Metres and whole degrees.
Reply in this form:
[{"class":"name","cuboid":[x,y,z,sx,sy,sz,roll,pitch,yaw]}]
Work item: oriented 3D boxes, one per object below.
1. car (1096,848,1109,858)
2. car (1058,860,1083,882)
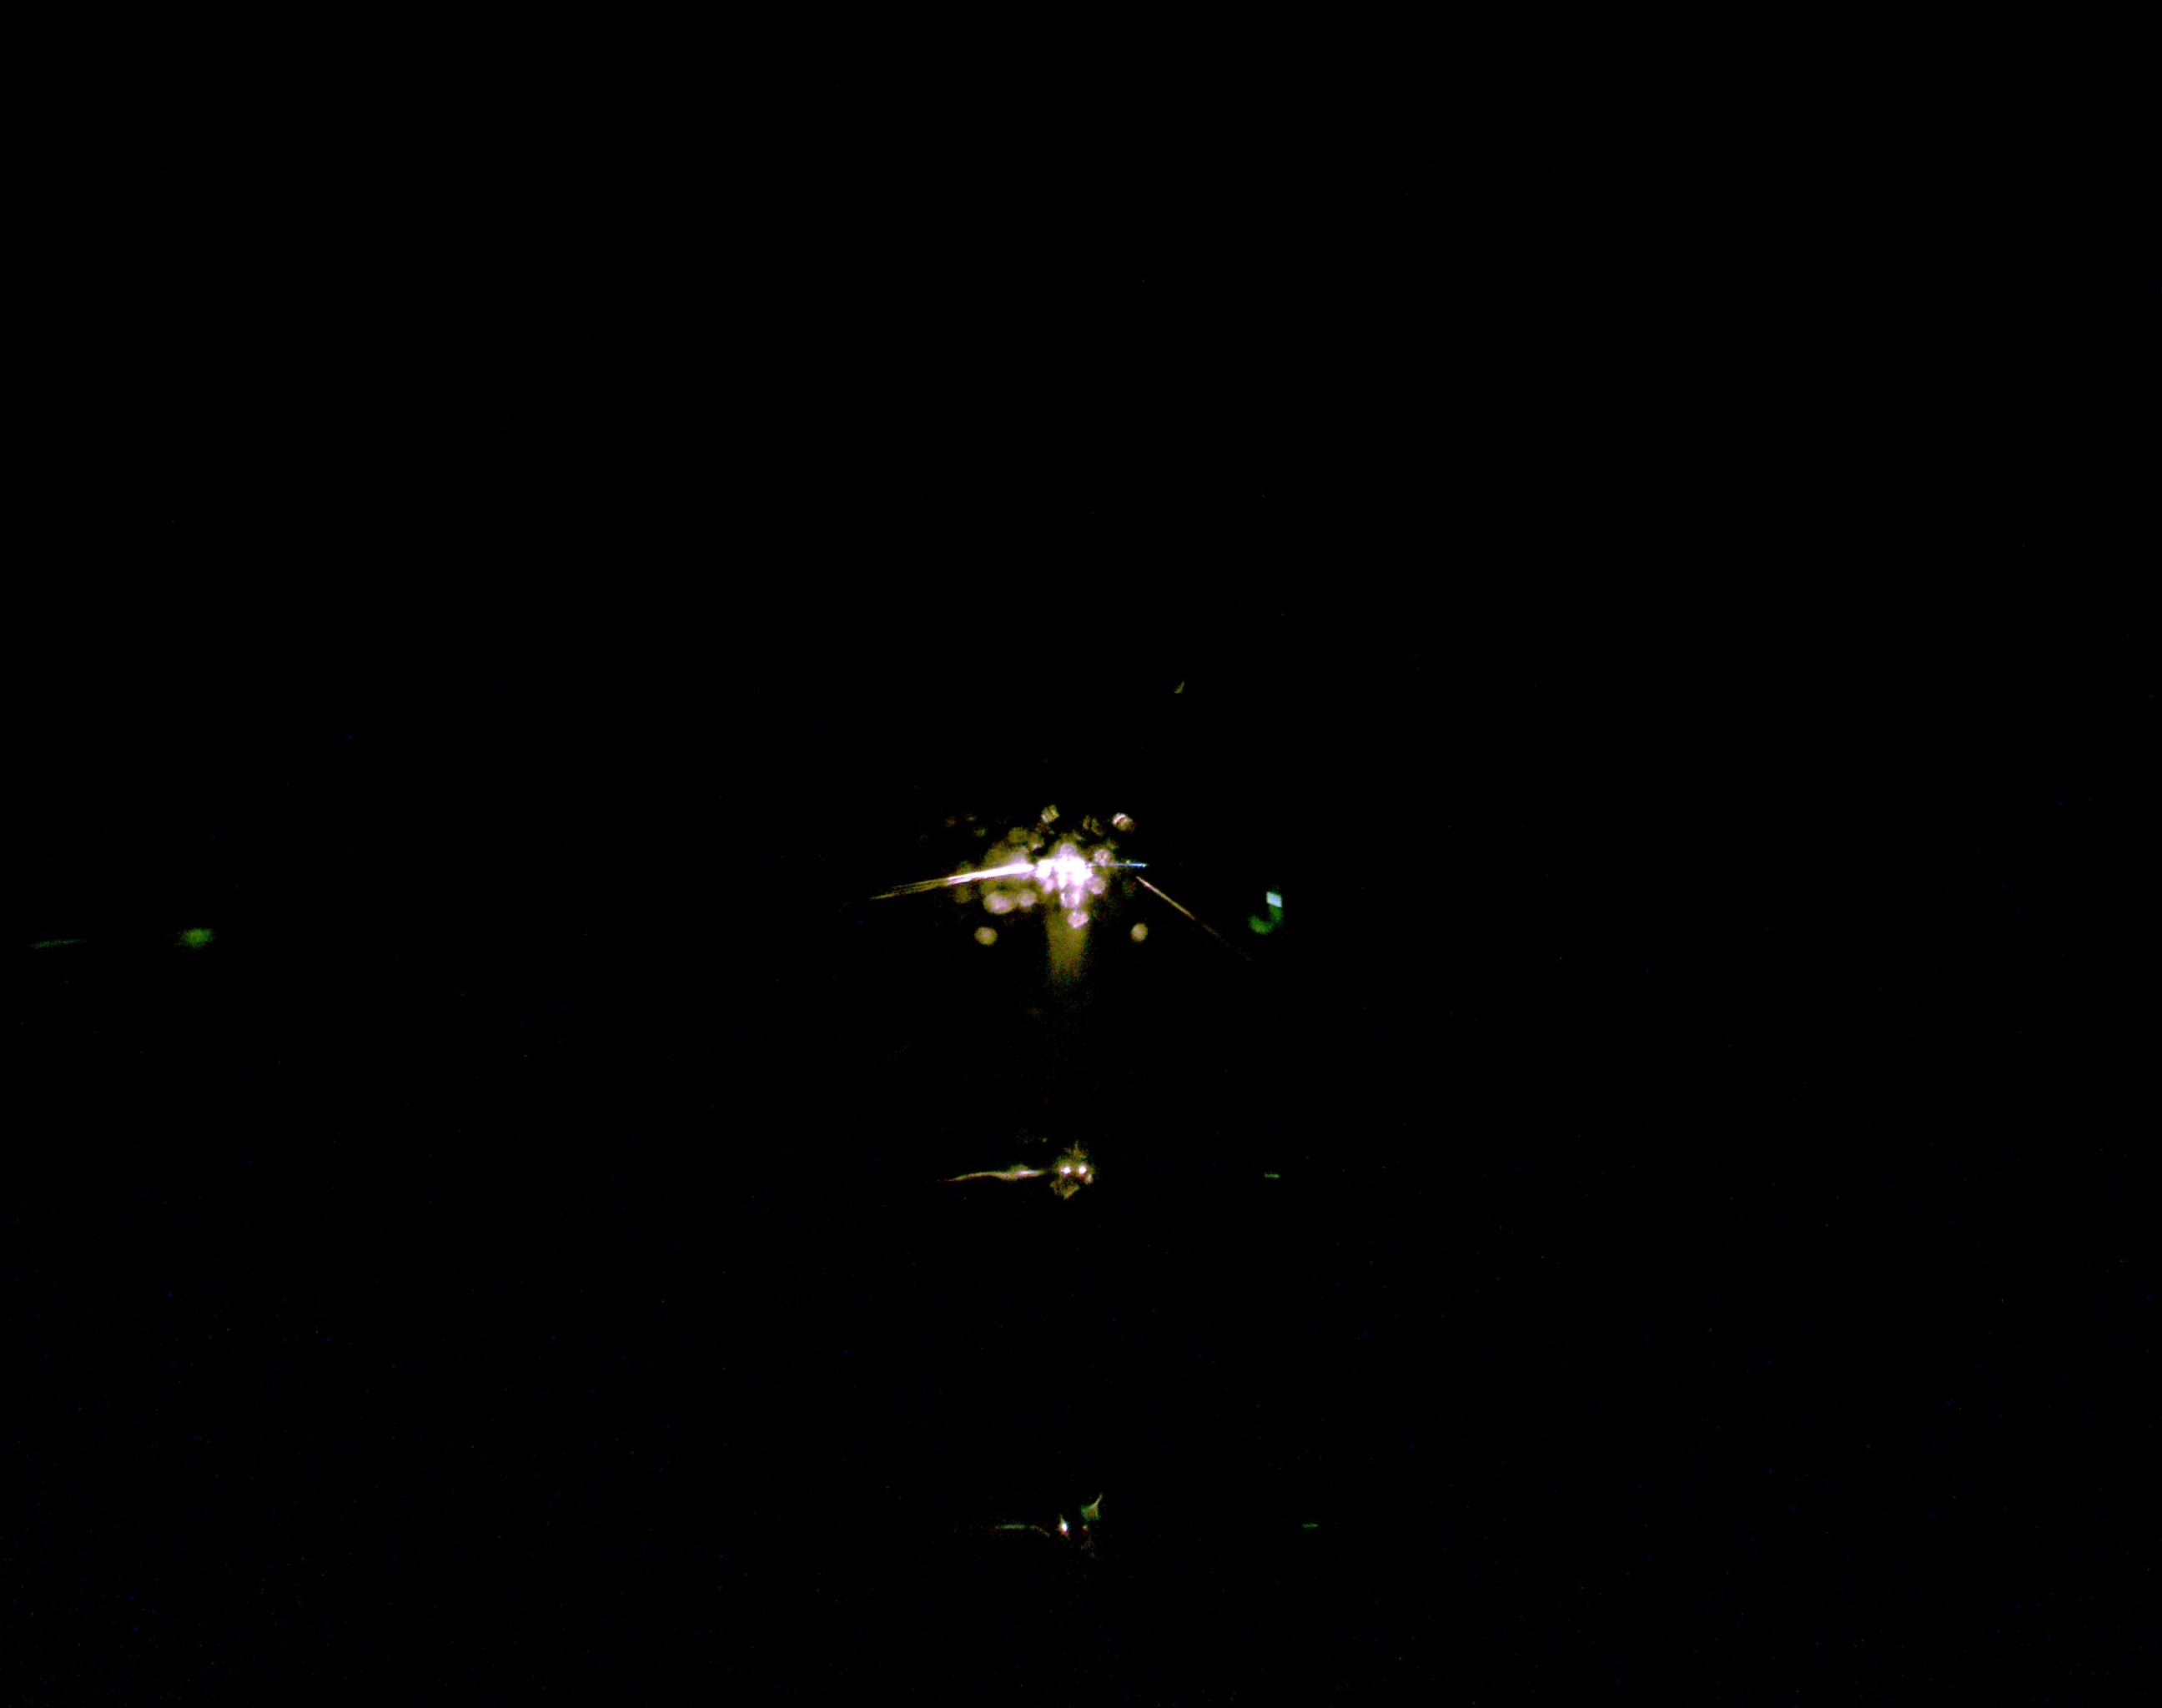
[{"class":"car","cuboid":[3.599,-0.221,136.160,1.986,1.666,4.002,-1,0,2]},{"class":"car","cuboid":[-0.908,1.475,71.611,1.986,1.825,4.565,0,0,2]}]
